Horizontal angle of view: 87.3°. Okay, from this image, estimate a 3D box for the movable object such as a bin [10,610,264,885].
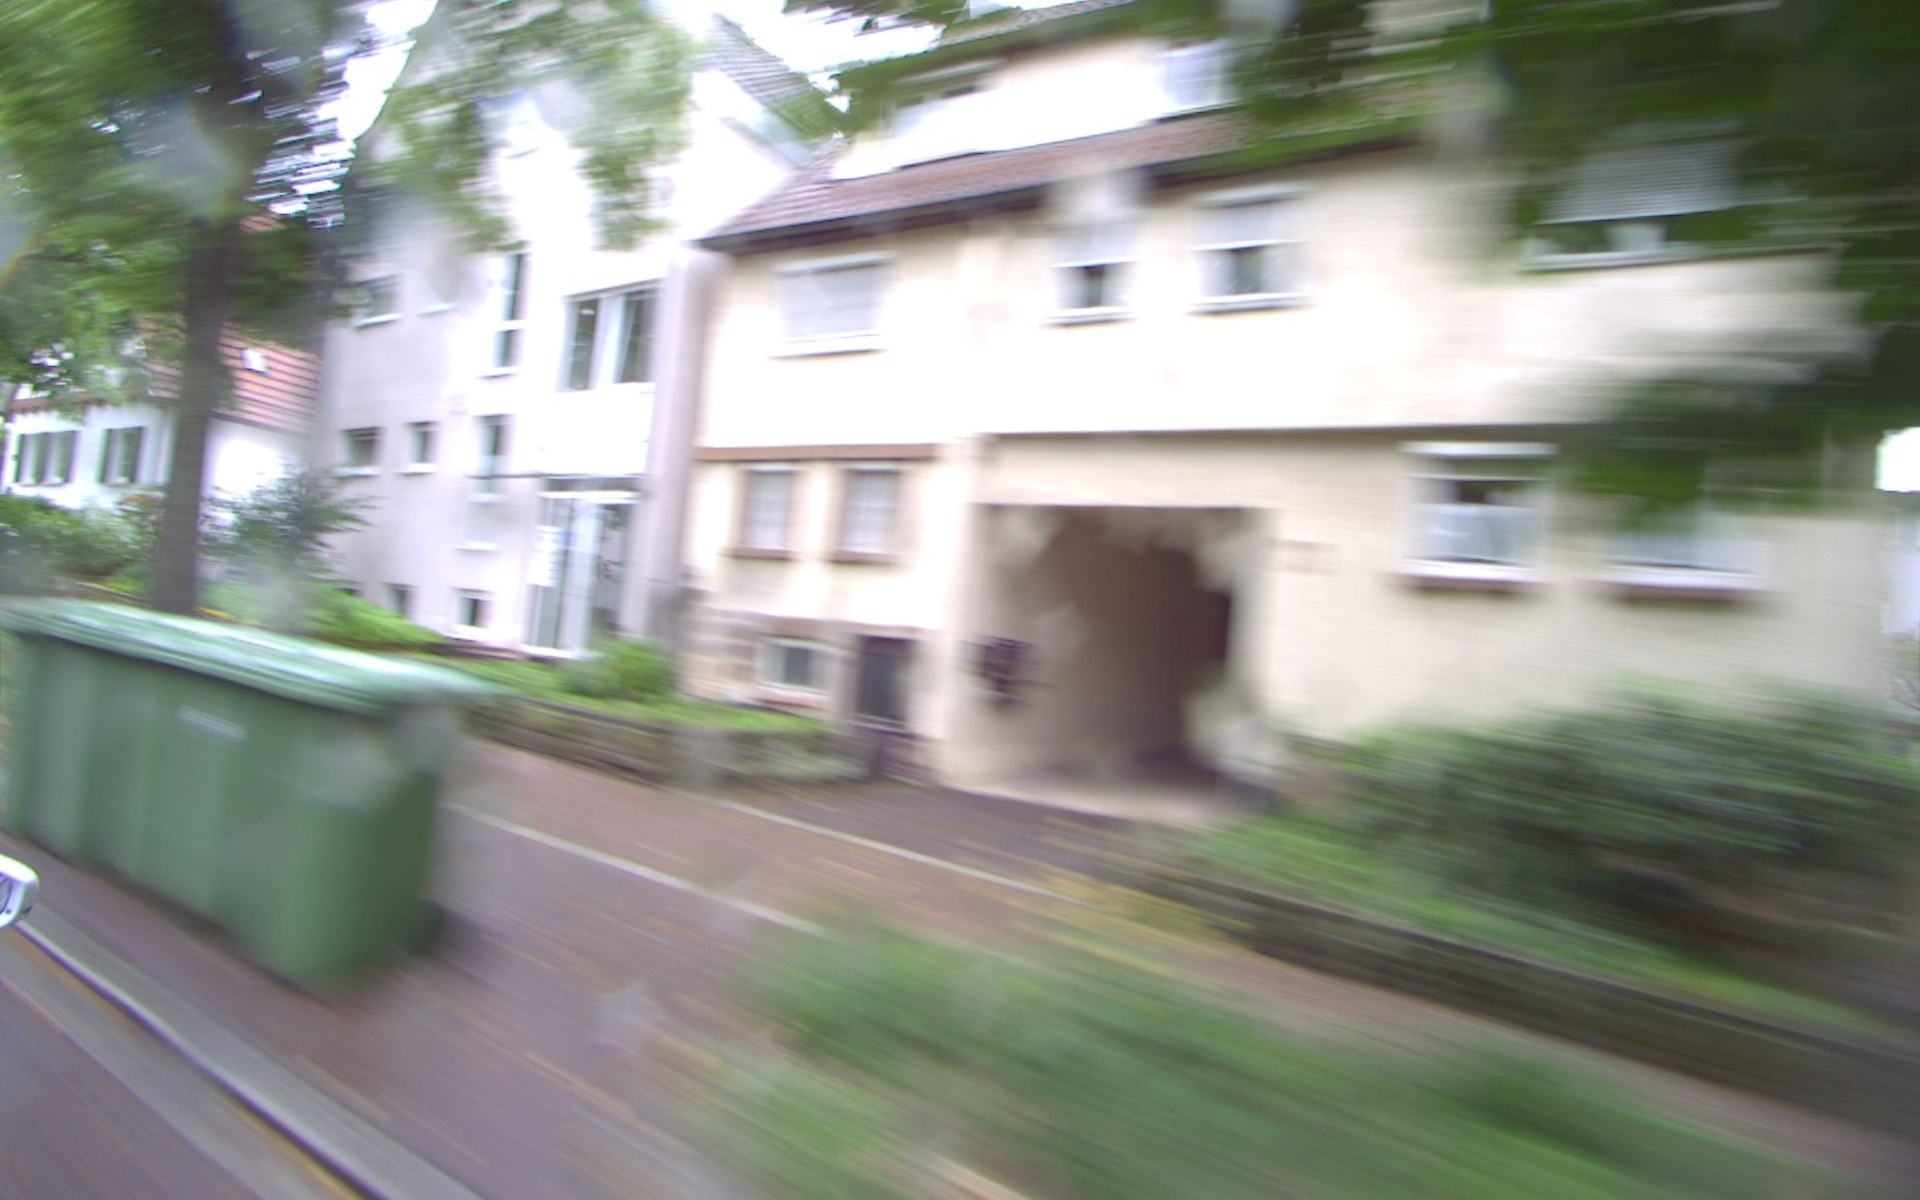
[{"bbox_3d":[-3.700,0.648,4.551,0.464,1.094,0.633,7,-3,28],"label":"movable object such as a bin"}]

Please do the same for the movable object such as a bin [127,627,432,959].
[{"bbox_3d":[-2.619,0.708,3.914,0.531,1.094,0.690,7,-2,28],"label":"movable object such as a bin"}]

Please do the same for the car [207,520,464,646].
[{"bbox_3d":[-14.356,-0.324,23.431,1.967,1.917,4.482,6,-8,30],"label":"car"}]

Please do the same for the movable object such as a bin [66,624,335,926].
[{"bbox_3d":[-3.155,0.702,4.208,0.504,1.094,0.611,7,-3,28],"label":"movable object such as a bin"}]

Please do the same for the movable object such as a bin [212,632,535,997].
[{"bbox_3d":[-2.068,0.720,3.602,0.531,1.094,0.690,7,-3,28],"label":"movable object such as a bin"}]

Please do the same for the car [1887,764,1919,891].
[{"bbox_3d":[14.016,3.165,13.514,1.845,1.627,3.809,3,-4,37],"label":"car"}]

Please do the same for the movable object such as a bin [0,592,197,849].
[{"bbox_3d":[-4.252,0.564,4.828,0.531,1.094,0.645,7,-3,28],"label":"movable object such as a bin"}]
